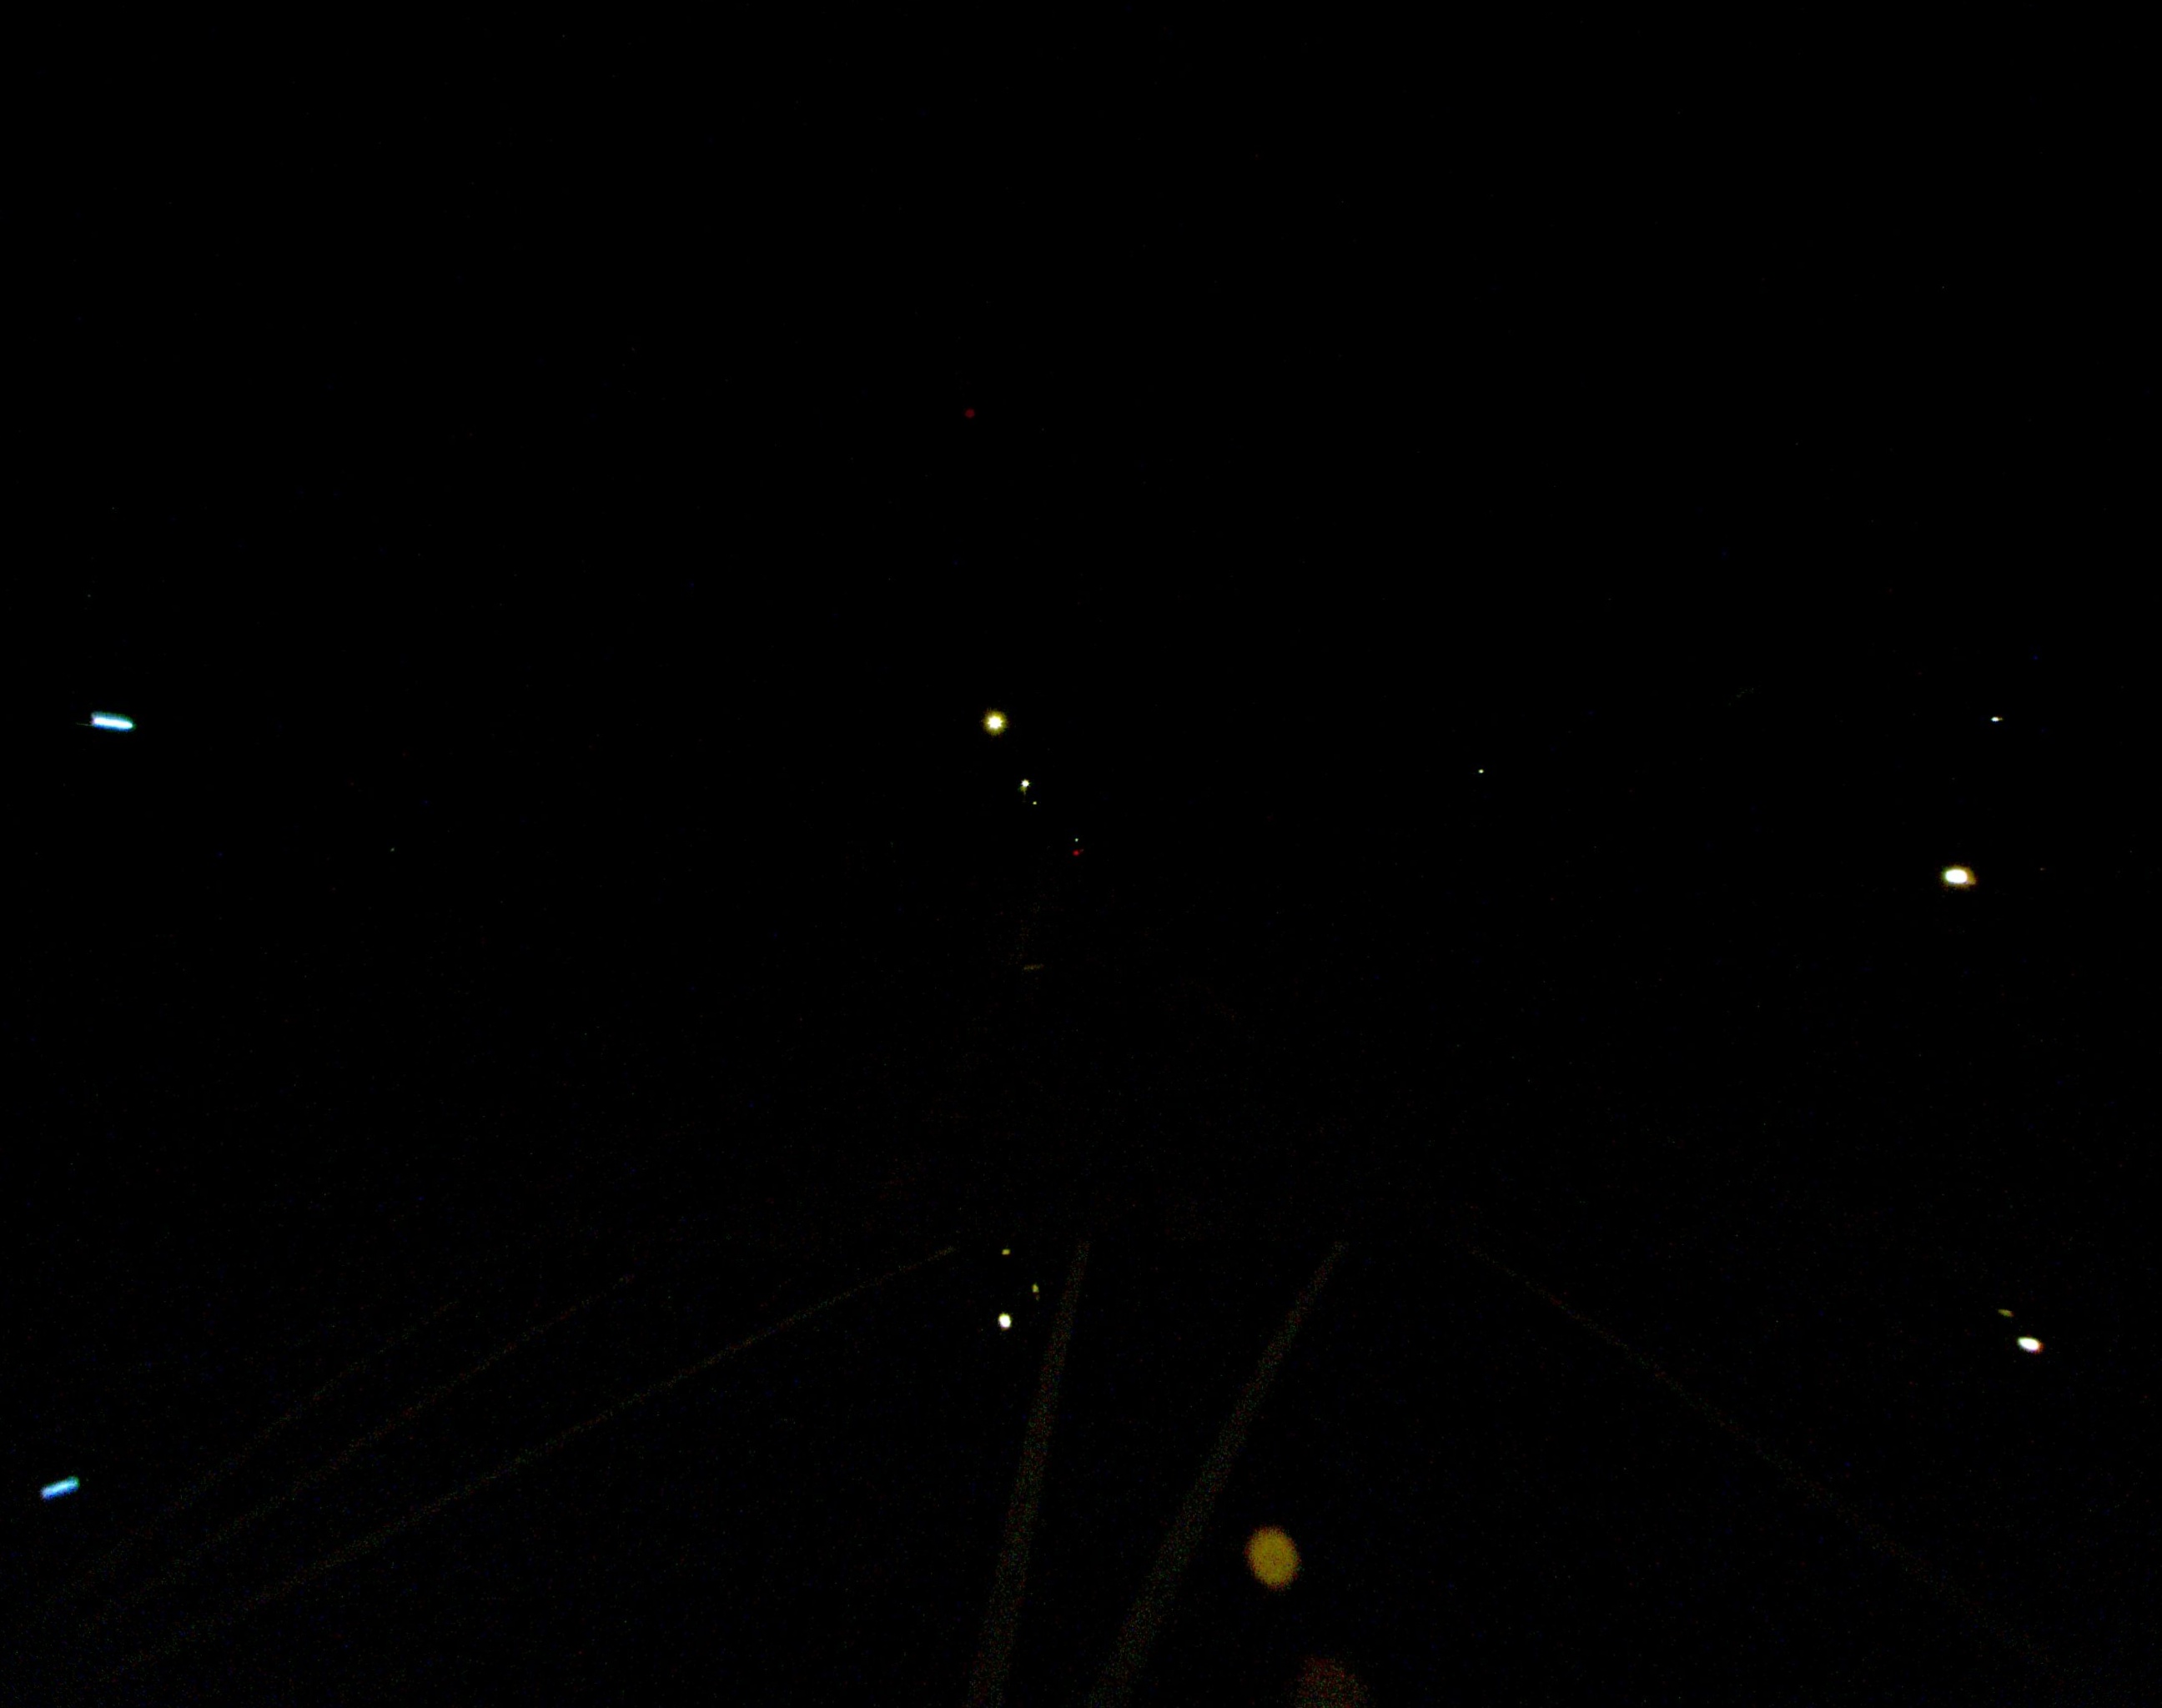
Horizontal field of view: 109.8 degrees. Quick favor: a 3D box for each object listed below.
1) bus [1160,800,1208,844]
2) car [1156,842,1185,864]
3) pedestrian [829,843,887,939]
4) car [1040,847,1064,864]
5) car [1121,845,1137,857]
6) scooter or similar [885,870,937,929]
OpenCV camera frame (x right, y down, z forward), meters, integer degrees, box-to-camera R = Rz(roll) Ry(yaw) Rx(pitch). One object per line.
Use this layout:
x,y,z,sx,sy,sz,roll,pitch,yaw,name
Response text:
17.292,-5.192,129.326,6.135,6.898,14.781,-2,1,1,bus
7.159,-0.108,60.935,1.806,1.583,3.999,-2,1,0,car
-4.481,0.712,15.322,0.819,1.854,1.034,-1,1,1,pedestrian
-2.926,0.132,78.233,1.998,1.638,4.000,0,2,5,car
6.285,-0.463,100.581,1.863,1.484,4.080,-2,1,1,car
-3.621,0.956,16.229,0.468,1.195,1.137,-2,0,24,scooter or similar
